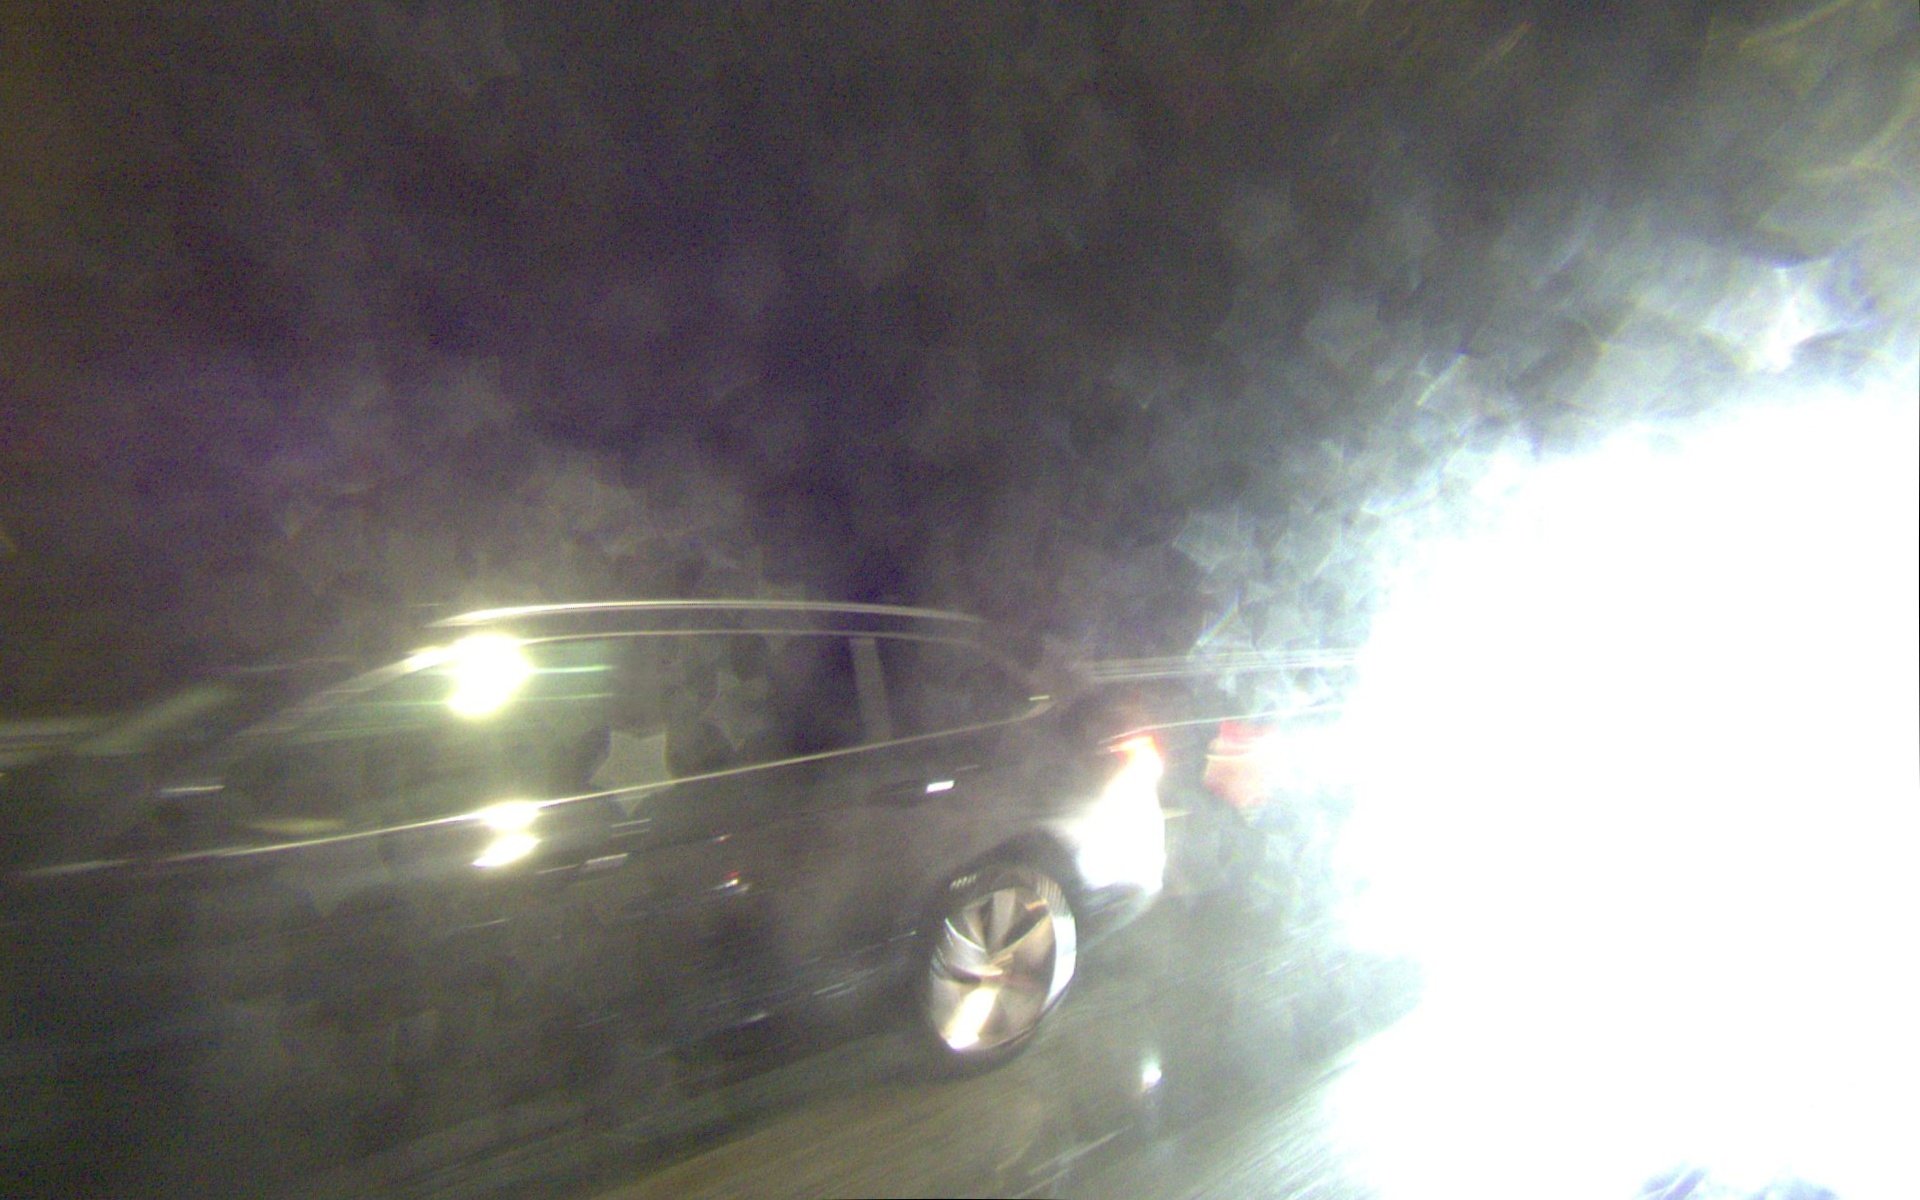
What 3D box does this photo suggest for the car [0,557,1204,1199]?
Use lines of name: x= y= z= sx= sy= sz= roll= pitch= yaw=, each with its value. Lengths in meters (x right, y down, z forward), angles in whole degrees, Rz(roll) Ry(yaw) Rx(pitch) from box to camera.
car: x=-1.386 y=0.695 z=2.903 sx=4.478 sy=1.525 sz=1.676 roll=-1 pitch=-1 yaw=-40

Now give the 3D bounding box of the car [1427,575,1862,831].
car: x=5.677 y=0.592 z=8.177 sx=4.335 sy=1.540 sz=1.711 roll=-1 pitch=1 yaw=-39

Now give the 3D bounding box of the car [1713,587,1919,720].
car: x=11.510 y=0.574 z=13.195 sx=4.065 sy=1.435 sz=1.743 roll=-1 pitch=1 yaw=-39

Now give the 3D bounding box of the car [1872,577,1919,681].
car: x=16.868 y=0.432 z=16.776 sx=4.314 sy=1.618 sz=1.998 roll=-1 pitch=2 yaw=-40
